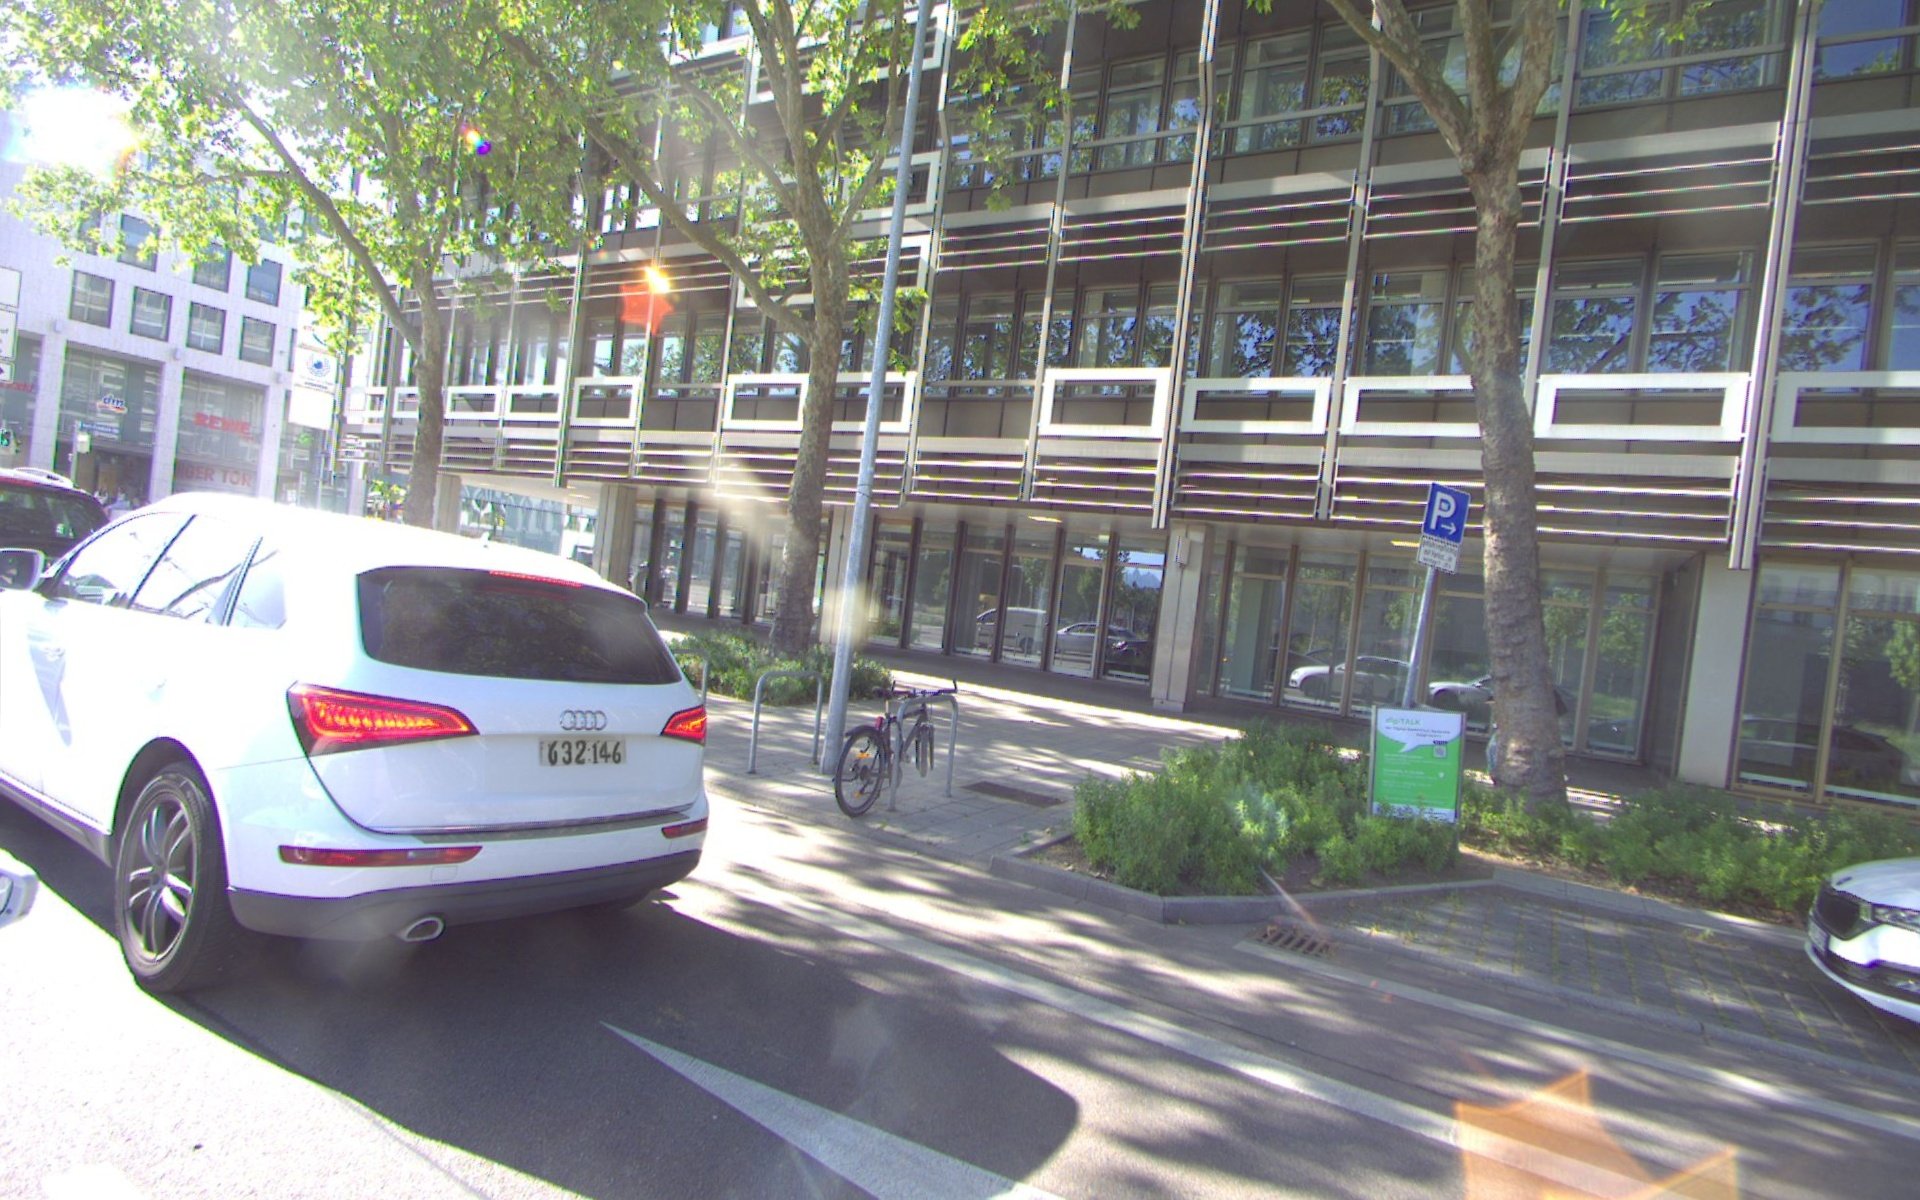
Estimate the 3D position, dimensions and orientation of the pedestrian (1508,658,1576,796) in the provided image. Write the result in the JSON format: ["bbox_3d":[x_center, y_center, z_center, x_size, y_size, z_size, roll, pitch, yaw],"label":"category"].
[{"bbox_3d":[7.106,1.540,12.299,0.492,1.604,0.316,7,1,23],"label":"pedestrian"}]

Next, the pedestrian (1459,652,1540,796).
[{"bbox_3d":[6.456,1.469,12.073,0.623,1.604,0.507,7,1,23],"label":"pedestrian"}]

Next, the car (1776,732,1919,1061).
[{"bbox_3d":[6.876,1.781,4.612,4.524,1.511,1.706,7,0,32],"label":"car"}]

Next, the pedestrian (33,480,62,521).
[{"bbox_3d":[-34.247,-3.729,37.754,0.622,1.457,0.562,6,-2,38],"label":"pedestrian"}]

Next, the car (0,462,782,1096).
[{"bbox_3d":[-3.004,0.385,4.571,4.118,1.638,1.723,7,0,33],"label":"car"}]

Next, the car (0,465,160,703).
[{"bbox_3d":[-8.482,-0.325,8.130,4.116,1.673,1.724,7,0,31],"label":"car"}]

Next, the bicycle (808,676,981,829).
[{"bbox_3d":[-0.460,1.137,7.910,0.470,0.970,1.696,7,1,27],"label":"bicycle"}]
